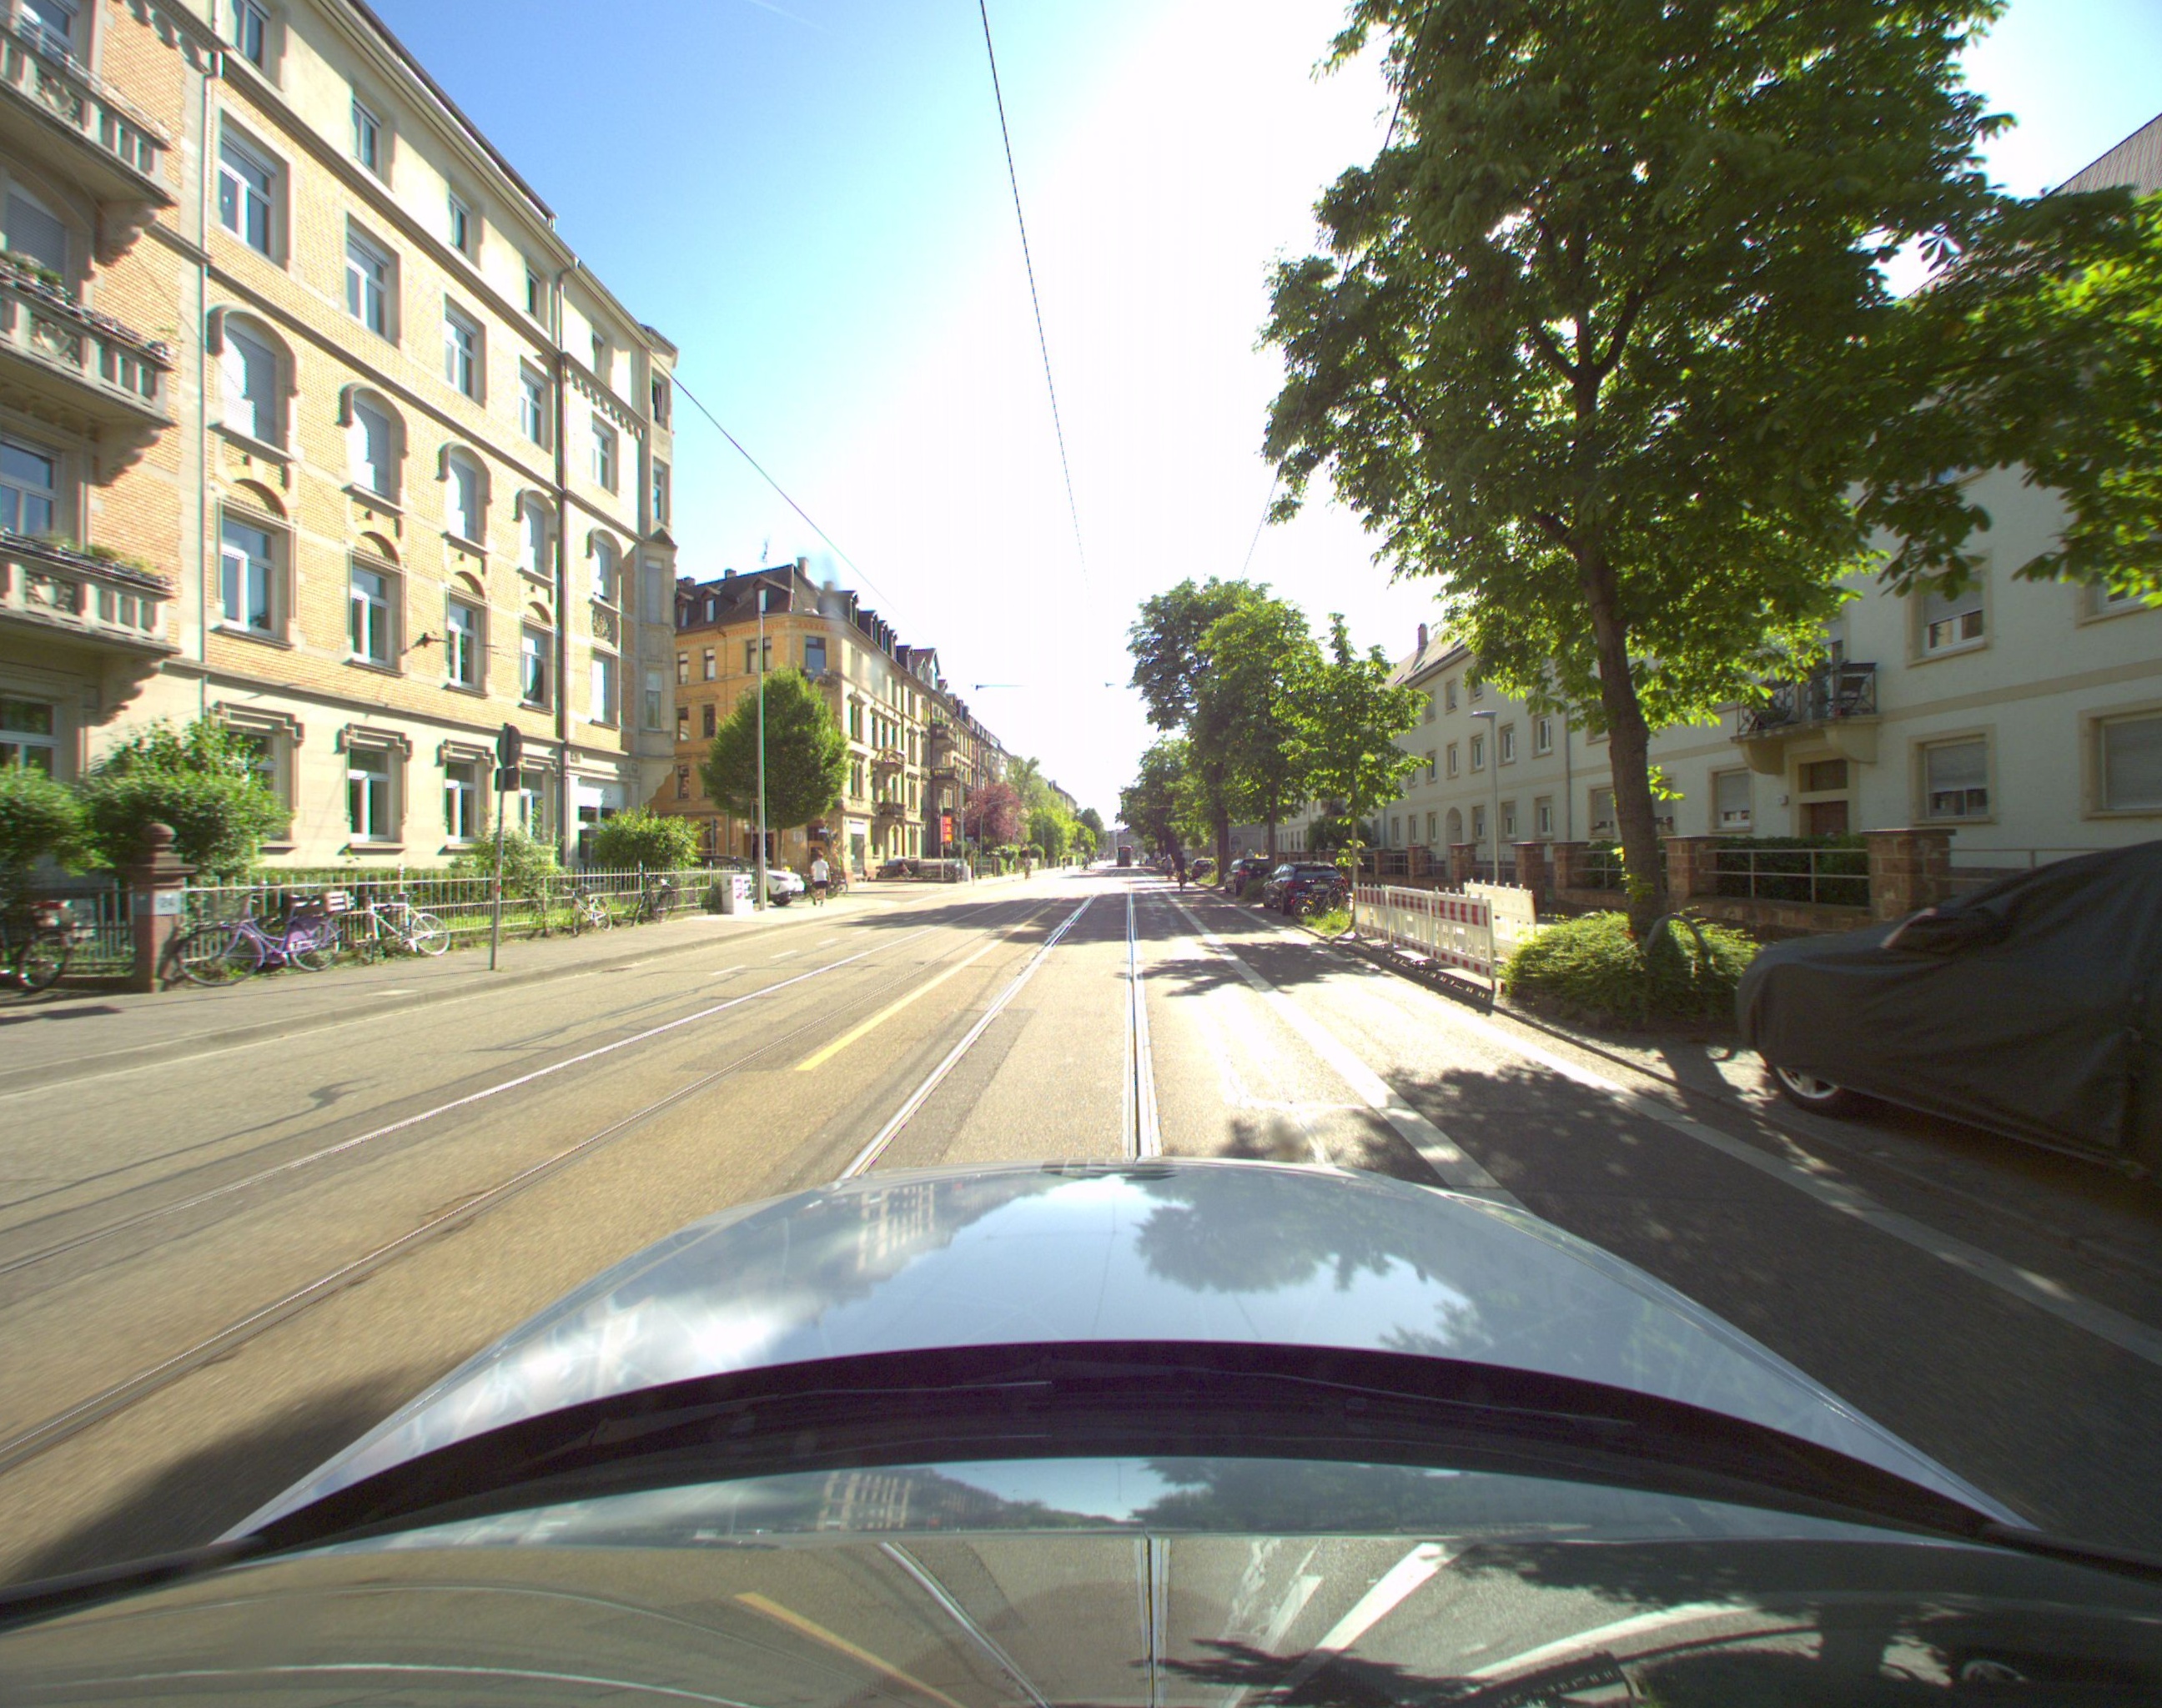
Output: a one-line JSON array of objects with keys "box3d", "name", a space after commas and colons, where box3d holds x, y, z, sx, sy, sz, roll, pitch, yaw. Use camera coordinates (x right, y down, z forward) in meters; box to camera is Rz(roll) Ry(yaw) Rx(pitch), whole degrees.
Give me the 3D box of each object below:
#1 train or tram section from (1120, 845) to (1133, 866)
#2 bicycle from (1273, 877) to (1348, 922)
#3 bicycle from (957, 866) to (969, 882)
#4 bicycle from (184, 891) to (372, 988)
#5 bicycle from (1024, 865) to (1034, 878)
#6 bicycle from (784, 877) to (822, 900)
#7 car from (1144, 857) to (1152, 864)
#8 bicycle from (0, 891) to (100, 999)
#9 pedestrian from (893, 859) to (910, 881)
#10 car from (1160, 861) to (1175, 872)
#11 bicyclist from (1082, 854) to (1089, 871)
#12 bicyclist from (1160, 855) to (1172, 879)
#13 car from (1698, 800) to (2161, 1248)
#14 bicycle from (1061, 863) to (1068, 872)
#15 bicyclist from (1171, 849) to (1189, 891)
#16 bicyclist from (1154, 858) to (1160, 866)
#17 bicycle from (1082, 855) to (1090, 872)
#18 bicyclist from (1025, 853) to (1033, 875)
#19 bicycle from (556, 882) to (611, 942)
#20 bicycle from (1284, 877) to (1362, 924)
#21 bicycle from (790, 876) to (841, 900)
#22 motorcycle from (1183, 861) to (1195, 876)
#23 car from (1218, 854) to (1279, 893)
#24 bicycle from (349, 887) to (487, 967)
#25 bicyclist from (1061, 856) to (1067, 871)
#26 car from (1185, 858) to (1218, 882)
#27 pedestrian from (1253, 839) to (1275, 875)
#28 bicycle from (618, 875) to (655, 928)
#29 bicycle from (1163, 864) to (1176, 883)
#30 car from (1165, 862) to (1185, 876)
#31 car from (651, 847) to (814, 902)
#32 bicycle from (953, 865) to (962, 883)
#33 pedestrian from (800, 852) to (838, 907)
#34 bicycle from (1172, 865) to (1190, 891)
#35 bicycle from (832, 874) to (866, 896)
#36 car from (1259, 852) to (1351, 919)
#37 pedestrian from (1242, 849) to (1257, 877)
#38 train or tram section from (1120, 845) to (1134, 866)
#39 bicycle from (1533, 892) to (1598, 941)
[{"box3d": [7.882, 0.304, 140.722, 2.144, 3.432, 6.616, 1, 0, 3], "name": "train or tram section"}, {"box3d": [5.712, 1.125, 20.309, 1.753, 1.078, 0.434, 1, 0, 4], "name": "bicycle"}, {"box3d": [-7.634, 1.308, 52.685, 0.333, 1.001, 1.871, 1, 0, 3], "name": "bicycle"}, {"box3d": [-10.133, 1.039, 10.376, 0.561, 1.033, 1.769, 1, 0, 3], "name": "bicycle"}, {"box3d": [-3.867, 1.280, 61.199, 0.458, 0.926, 2.204, -2, 0, 3], "name": "bicycle"}, {"box3d": [-11.258, 1.400, 33.002, 0.613, 0.914, 1.302, -2, -3, 41], "name": "bicycle"}, {"box3d": [15.777, 1.556, 190.710, 1.747, 1.552, 3.680, 1, 0, 3], "name": "car"}, {"box3d": [-11.778, 0.946, 8.767, 1.741, 1.033, 0.565, 3, 0, 2], "name": "bicycle"}, {"box3d": [-11.587, 1.041, 52.585, 0.897, 1.352, 0.578, -2, -1, 4], "name": "pedestrian"}, {"box3d": [11.468, 1.654, 107.884, 1.741, 1.420, 4.003, -1, 0, 3], "name": "car"}, {"box3d": [0.525, 0.933, 90.260, 0.643, 1.796, 0.956, 1, 0, 3], "name": "bicyclist"}, {"box3d": [5.170, 0.801, 49.551, 0.632, 1.468, 0.616, 1, 0, 3], "name": "bicyclist"}, {"box3d": [5.155, 0.685, 3.524, 1.737, 1.766, 4.480, 1, 0, 2], "name": "car"}, {"box3d": [-2.001, 1.599, 97.240, 0.689, 1.112, 1.720, -2, 0, 3], "name": "bicycle"}, {"box3d": [4.517, 0.723, 37.097, 0.724, 1.848, 0.837, 1, 0, 2], "name": "bicyclist"}, {"box3d": [12.137, 1.329, 130.796, 0.766, 1.291, 0.737, 1, 0, 19], "name": "bicyclist"}, {"box3d": [0.543, 1.038, 90.193, 0.660, 1.859, 2.262, 1, 0, 5], "name": "bicycle"}, {"box3d": [-3.892, 0.738, 61.116, 0.462, 1.618, 0.745, -2, -1, 3], "name": "bicyclist"}, {"box3d": [-9.872, 1.127, 16.206, 0.565, 1.033, 1.755, 4, 0, -21], "name": "bicycle"}, {"box3d": [5.882, 1.134, 19.813, 1.753, 1.078, 0.434, 1, 0, 4], "name": "bicycle"}, {"box3d": [-10.280, 1.301, 31.529, 1.795, 0.914, 0.614, 1, -2, -33], "name": "bicycle"}, {"box3d": [9.124, 1.241, 68.812, 0.494, 1.191, 1.859, -4, 0, -4], "name": "motorcycle"}, {"box3d": [6.785, 0.753, 33.300, 1.713, 1.474, 4.248, -1, 0, 2], "name": "car"}, {"box3d": [-9.990, 1.067, 12.367, 0.561, 1.033, 1.769, 1, 0, 3], "name": "bicycle"}, {"box3d": [-2.015, 1.165, 97.183, 0.657, 1.802, 0.616, -2, -1, 3], "name": "bicyclist"}, {"box3d": [7.892, 1.027, 53.781, 1.780, 1.464, 4.047, -1, 0, 3], "name": "car"}, {"box3d": [9.395, 0.167, 41.783, 0.602, 1.771, 0.905, -3, 0, -27], "name": "pedestrian"}, {"box3d": [-9.786, 1.018, 17.906, 0.567, 1.033, 1.749, 1, 1, -33], "name": "bicycle"}, {"box3d": [5.362, 1.153, 49.644, 0.689, 1.112, 1.919, 1, 0, 3], "name": "bicycle"}, {"box3d": [10.259, 1.603, 89.083, 1.623, 1.436, 4.664, -1, 0, 0], "name": "car"}, {"box3d": [-11.285, 0.641, 26.580, 4.424, 1.644, 1.969, 1, -1, 5], "name": "car"}, {"box3d": [-7.873, 1.253, 51.827, 0.369, 1.126, 0.809, 1, 0, 3], "name": "bicycle"}, {"box3d": [-8.539, 0.820, 26.564, 0.826, 1.724, 1.082, 1, -1, 1], "name": "pedestrian"}, {"box3d": [4.532, 1.091, 37.076, 0.689, 1.112, 1.720, 1, 0, 3], "name": "bicycle"}, {"box3d": [-9.966, 1.338, 34.969, 1.299, 0.914, 0.614, 1, -2, -33], "name": "bicycle"}, {"box3d": [6.301, 0.832, 23.352, 1.659, 1.761, 4.233, 0, 0, 2], "name": "car"}, {"box3d": [10.689, 0.559, 51.536, 0.755, 1.724, 0.583, 1, -1, 32], "name": "pedestrian"}, {"box3d": [7.515, 0.274, 134.091, 2.144, 3.432, 6.616, 1, 0, 3], "name": "train or tram section"}, {"box3d": [11.874, 1.511, 20.031, 0.557, 1.053, 1.873, -1, 0, 3], "name": "bicycle"}]
